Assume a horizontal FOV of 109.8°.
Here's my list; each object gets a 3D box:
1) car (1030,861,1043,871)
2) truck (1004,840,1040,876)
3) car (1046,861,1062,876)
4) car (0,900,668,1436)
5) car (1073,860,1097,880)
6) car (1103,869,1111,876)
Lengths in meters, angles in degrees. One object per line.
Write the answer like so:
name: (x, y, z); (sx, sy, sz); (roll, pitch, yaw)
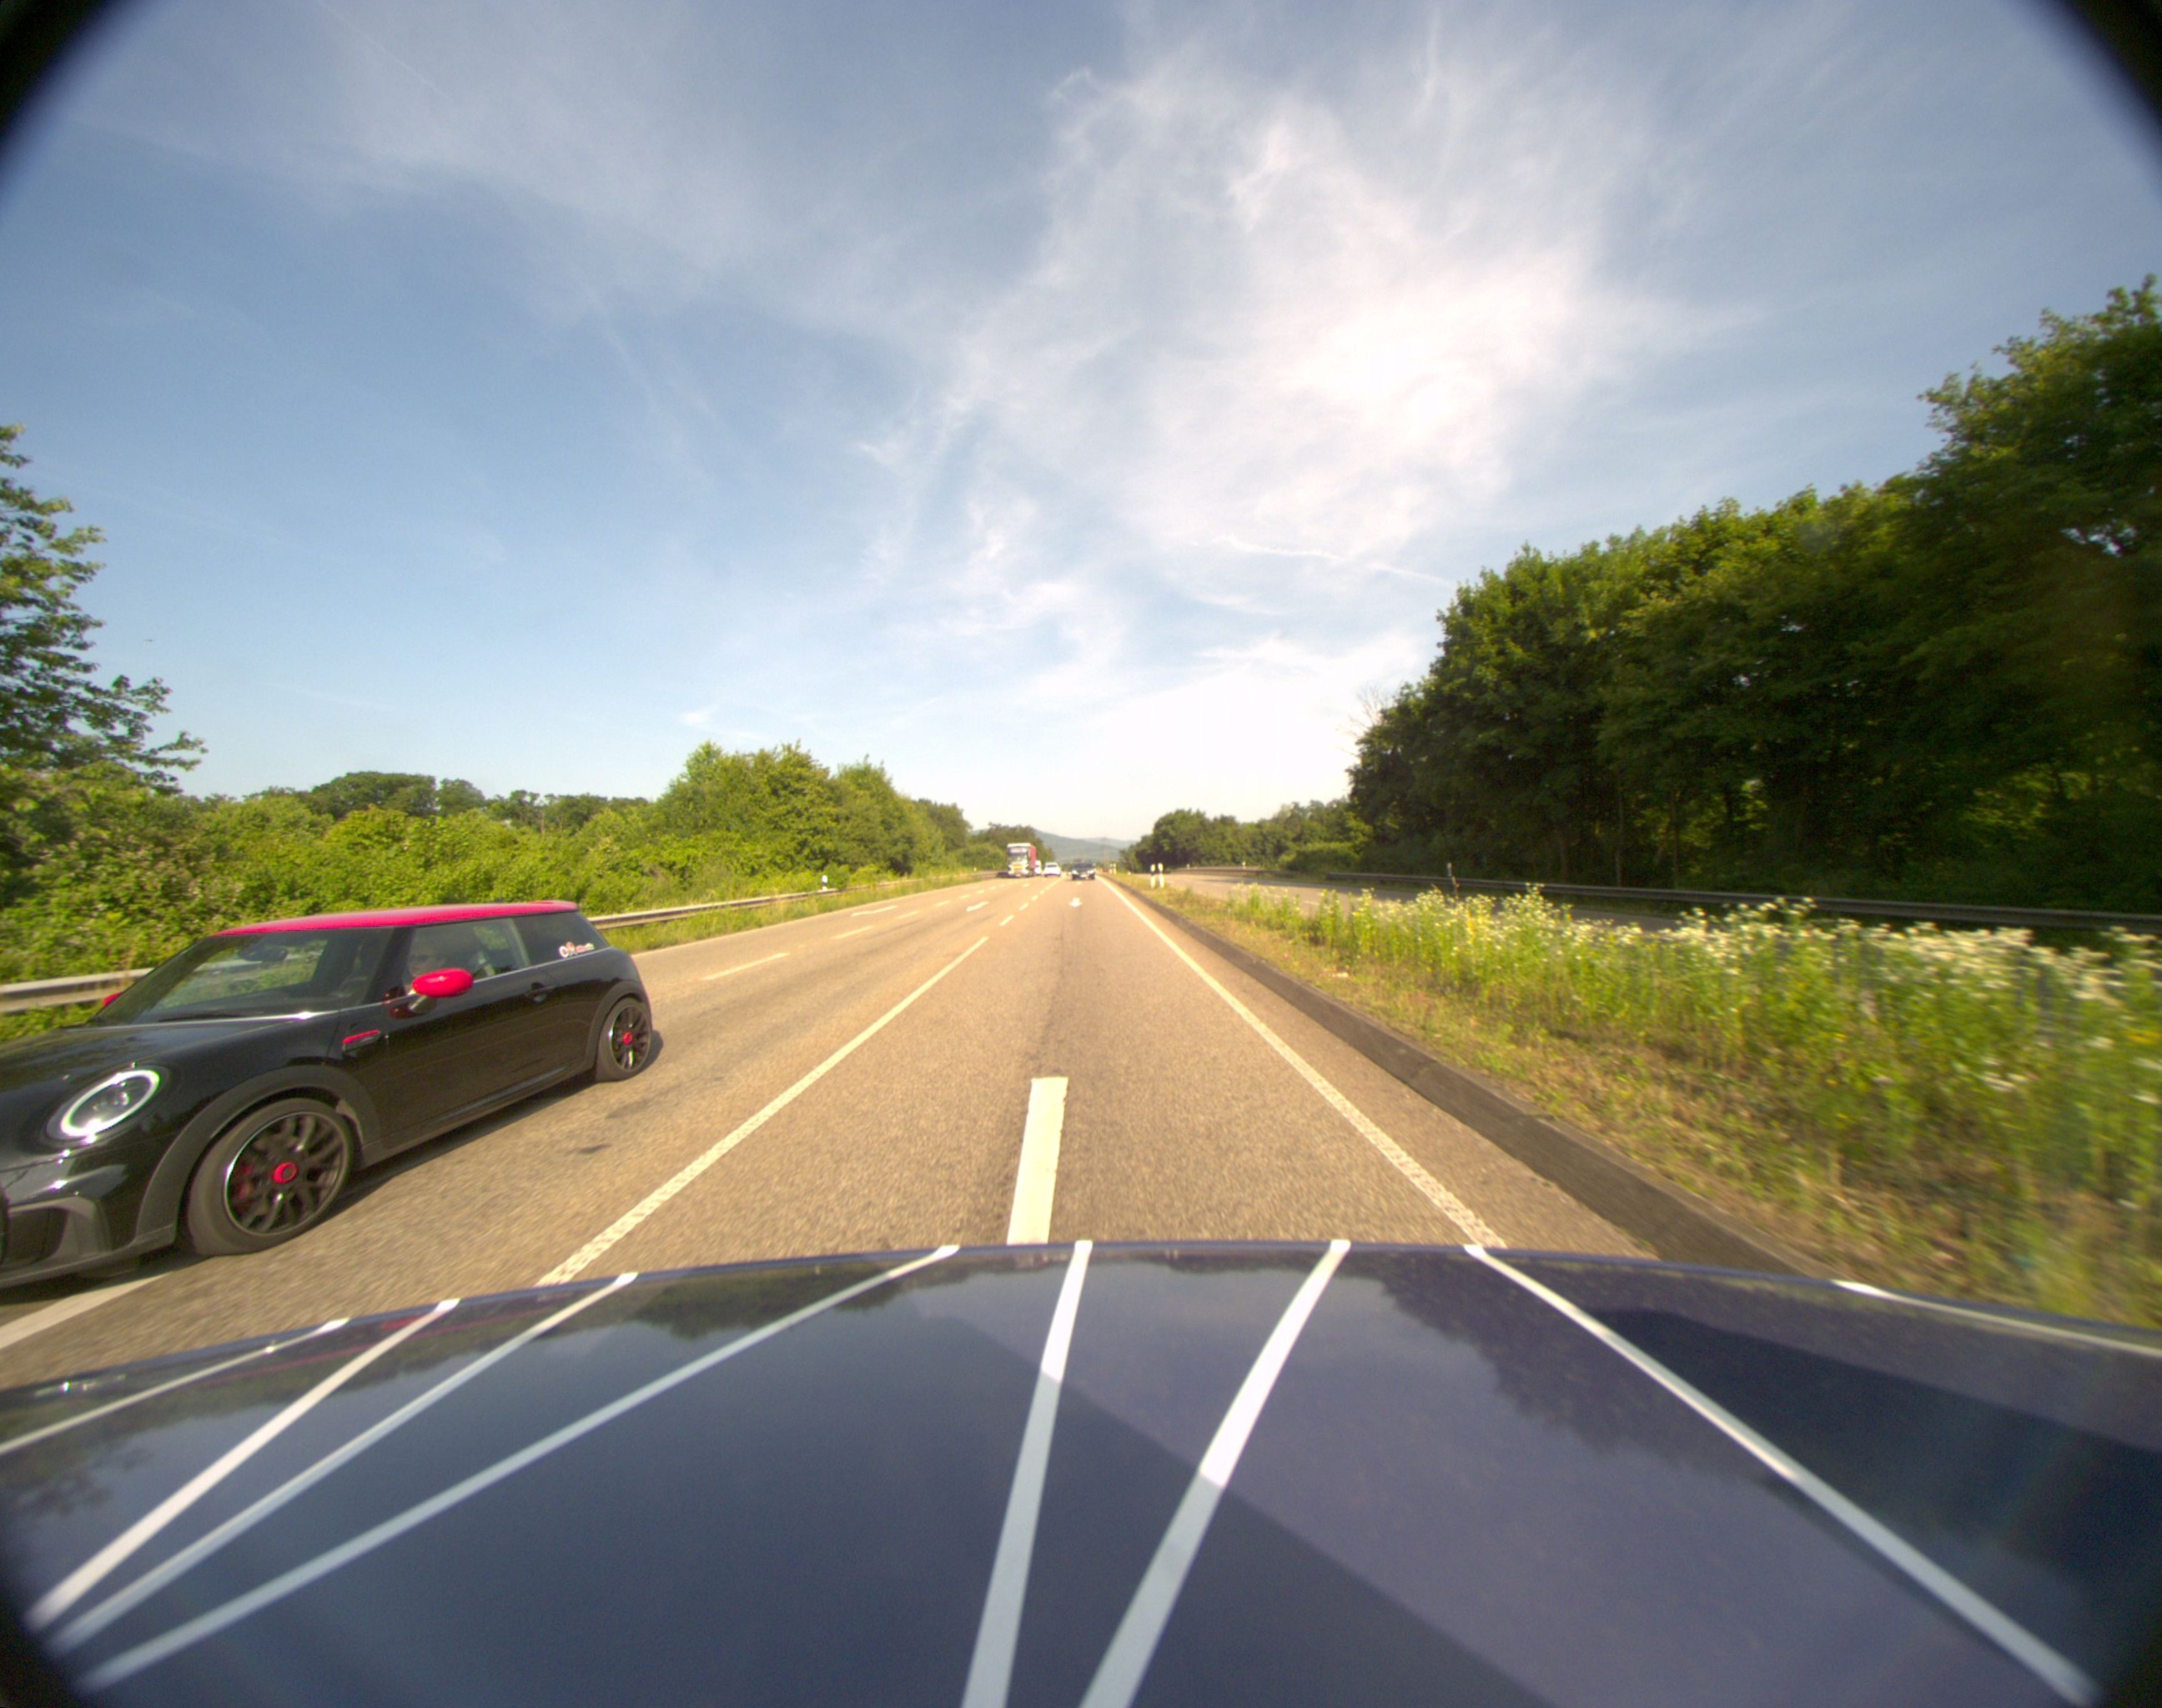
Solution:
car: (-7.430, 2.013, 126.990); (1.875, 1.625, 4.833); (0, 0, -1)
truck: (-7.211, 0.472, 94.821); (3.197, 3.995, 14.563); (-3, 0, 0)
car: (-3.152, 1.698, 89.716); (1.875, 1.625, 4.833); (0, 0, -1)
car: (-4.352, 1.148, 4.316); (1.824, 1.459, 3.872); (-3, 0, 0)
car: (0.321, 1.247, 62.225); (1.861, 1.452, 4.569); (-3, 0, 0)
car: (7.126, 5.006, 207.833); (1.999, 1.818, 4.618); (-3, 0, -1)
